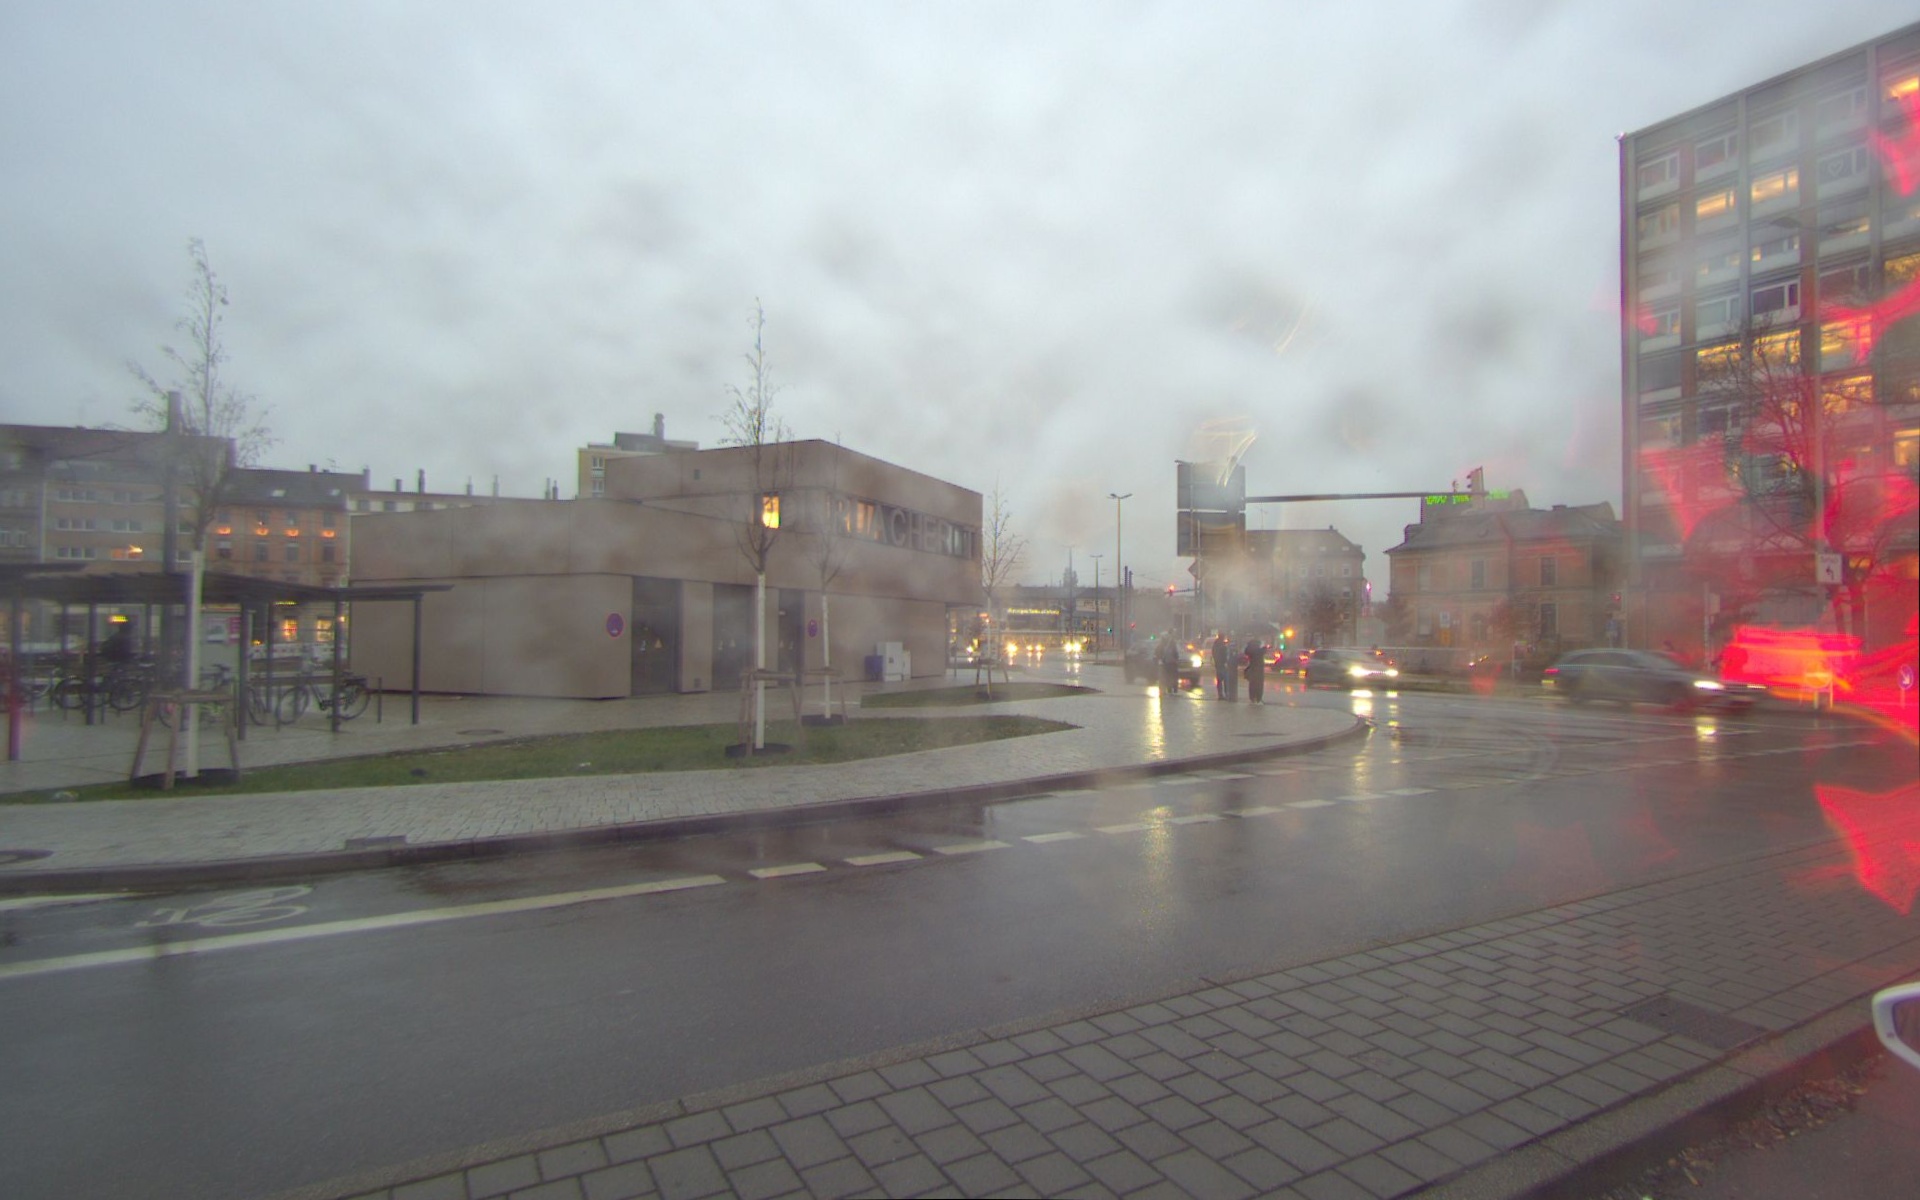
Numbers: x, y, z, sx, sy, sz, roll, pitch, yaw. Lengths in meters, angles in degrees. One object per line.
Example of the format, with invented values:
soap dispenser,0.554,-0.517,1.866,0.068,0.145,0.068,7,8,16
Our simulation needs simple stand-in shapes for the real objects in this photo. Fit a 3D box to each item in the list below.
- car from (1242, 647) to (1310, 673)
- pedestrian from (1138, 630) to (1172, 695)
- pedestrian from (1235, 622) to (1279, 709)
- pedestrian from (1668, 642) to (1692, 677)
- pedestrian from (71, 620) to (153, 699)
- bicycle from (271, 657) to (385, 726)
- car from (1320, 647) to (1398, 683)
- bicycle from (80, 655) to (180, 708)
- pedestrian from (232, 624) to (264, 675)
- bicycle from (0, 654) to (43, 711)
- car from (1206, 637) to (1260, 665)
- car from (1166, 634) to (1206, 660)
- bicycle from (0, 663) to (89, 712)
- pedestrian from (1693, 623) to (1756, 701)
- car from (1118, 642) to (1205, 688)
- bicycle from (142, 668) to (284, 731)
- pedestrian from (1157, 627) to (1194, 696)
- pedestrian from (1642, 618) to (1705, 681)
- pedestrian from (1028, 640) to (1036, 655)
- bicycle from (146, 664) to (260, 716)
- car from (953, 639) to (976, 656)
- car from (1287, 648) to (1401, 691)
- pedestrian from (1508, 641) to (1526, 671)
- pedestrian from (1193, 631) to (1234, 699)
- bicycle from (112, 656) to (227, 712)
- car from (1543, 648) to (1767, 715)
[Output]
car,20.103,3.806,63.972,3.741,1.502,1.602,2,0,-1
pedestrian,5.475,1.741,28.170,0.544,1.793,0.734,1,-3,-43
pedestrian,7.210,1.580,24.379,0.971,2.047,0.802,-1,-2,19
pedestrian,34.395,2.821,47.985,0.548,1.649,0.760,0,-2,-15
pedestrian,-19.571,1.366,23.197,0.992,1.787,1.067,-1,-2,19
bicycle,-11.740,1.678,18.717,0.605,1.172,1.755,1,-2,20
car,20.509,3.311,51.811,1.795,1.589,3.991,2,0,-11
bicycle,-17.677,1.713,21.431,0.511,1.050,1.573,1,-2,19
pedestrian,-24.187,1.679,34.139,0.518,1.688,0.701,-1,-2,18
bicycle,-19.384,1.635,19.837,0.466,1.122,1.797,1,-2,29
car,19.635,3.655,72.348,3.514,1.850,1.672,2,0,8
car,16.139,3.331,71.840,1.791,1.589,3.998,2,0,-3
bicycle,-18.499,1.735,19.988,0.466,0.903,1.693,1,-2,24
pedestrian,20.144,1.626,26.480,0.946,2.004,0.925,0,-2,-24
car,7.435,2.363,37.440,1.744,1.598,3.992,0,-2,-12
bicycle,-12.926,1.705,17.456,0.466,0.989,1.923,1,-2,29
pedestrian,5.936,1.683,27.651,0.671,1.863,0.726,1,-3,-42
pedestrian,21.914,1.521,30.883,1.117,1.867,1.004,-2,-2,-7
pedestrian,9.818,6.435,136.893,0.960,2.040,0.920,-1,-2,11
bicycle,-15.170,1.780,20.172,0.466,0.968,1.767,1,-2,29
car,0.419,4.641,98.361,1.649,1.598,3.420,0,-2,-9
car,14.425,2.577,38.046,1.779,1.496,4.662,1,-3,-12
pedestrian,32.395,3.258,58.438,0.626,1.710,0.640,0,-2,-13
pedestrian,6.734,1.711,26.704,0.838,1.778,0.659,0,-2,-14
bicycle,-16.520,1.738,21.037,0.466,1.087,1.830,1,-2,26
car,17.207,1.974,25.211,1.780,1.496,4.661,1,-3,-13
